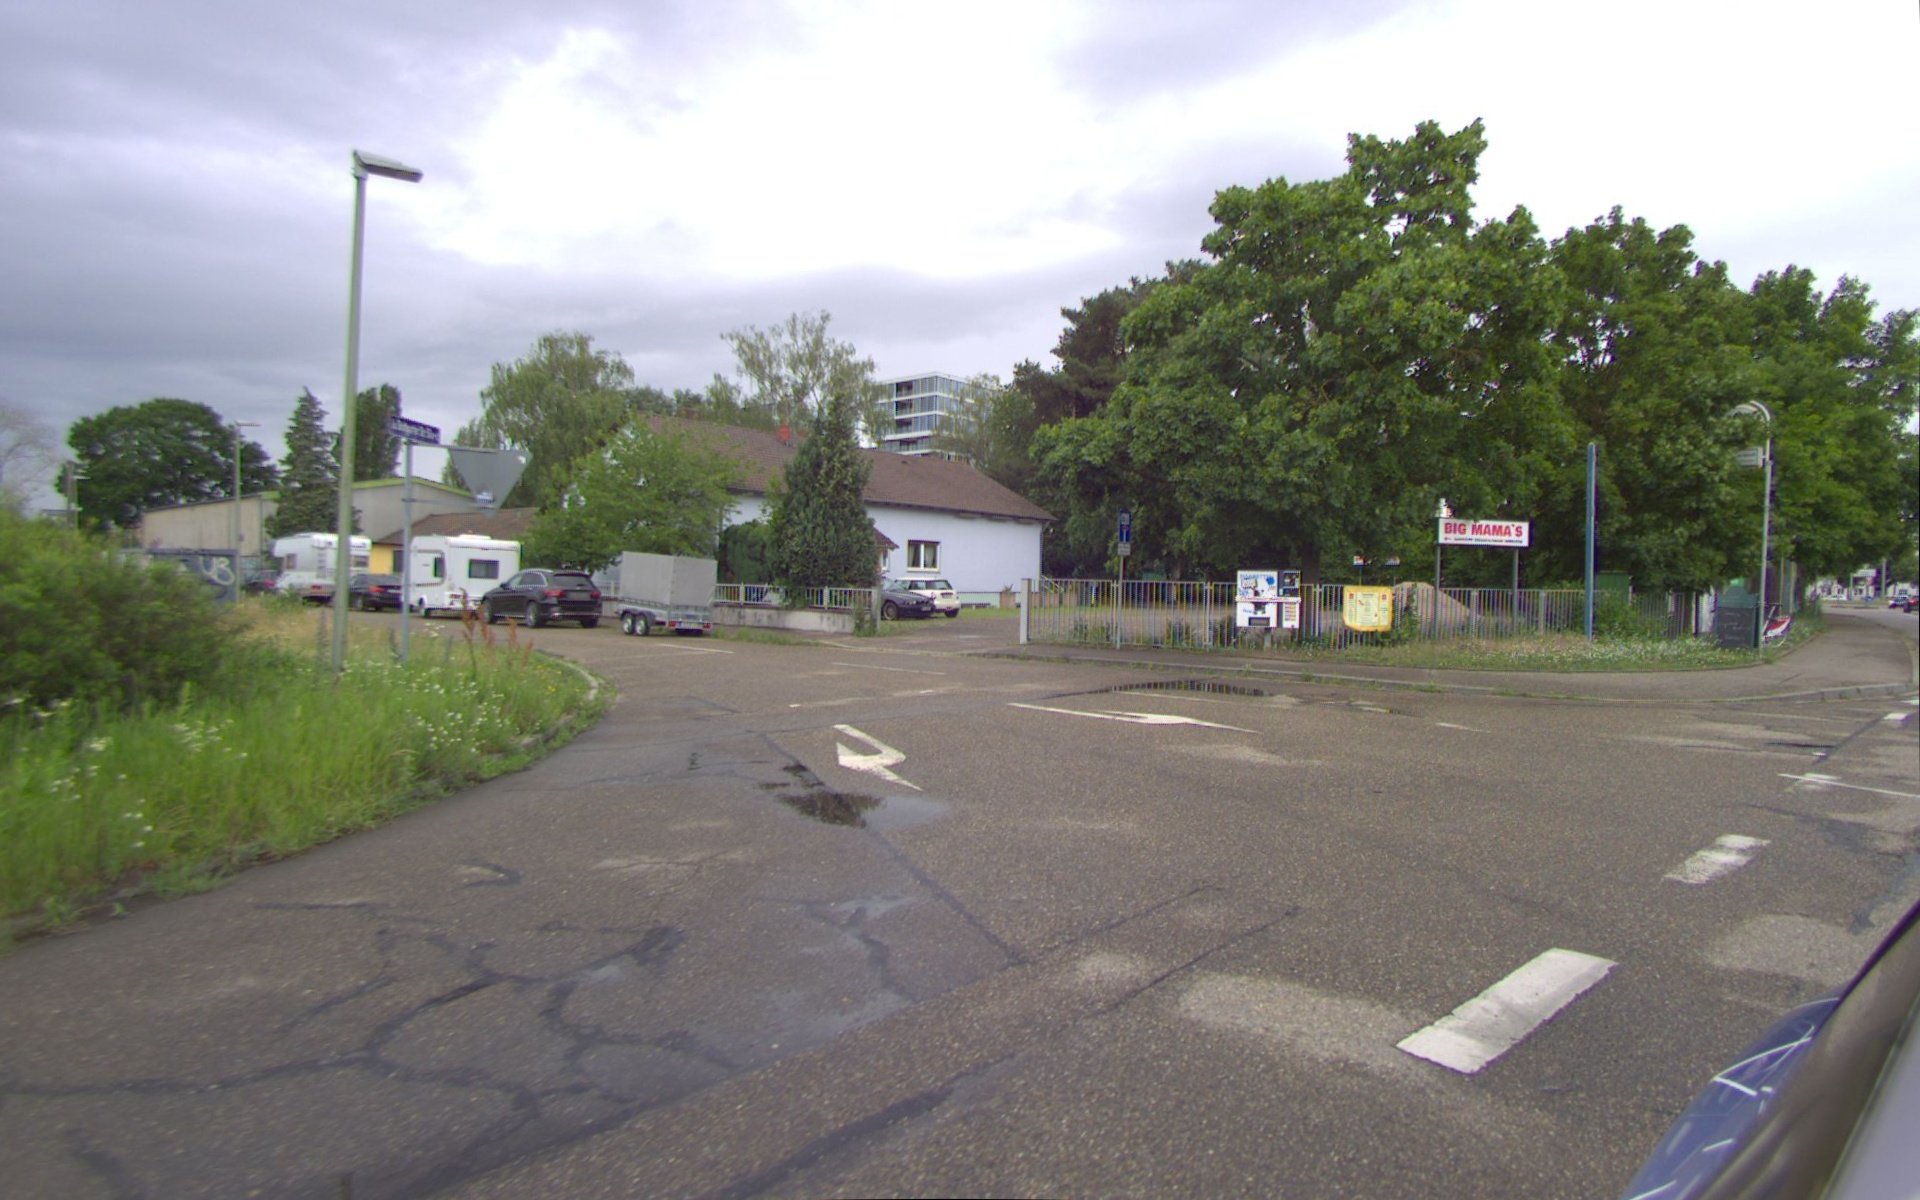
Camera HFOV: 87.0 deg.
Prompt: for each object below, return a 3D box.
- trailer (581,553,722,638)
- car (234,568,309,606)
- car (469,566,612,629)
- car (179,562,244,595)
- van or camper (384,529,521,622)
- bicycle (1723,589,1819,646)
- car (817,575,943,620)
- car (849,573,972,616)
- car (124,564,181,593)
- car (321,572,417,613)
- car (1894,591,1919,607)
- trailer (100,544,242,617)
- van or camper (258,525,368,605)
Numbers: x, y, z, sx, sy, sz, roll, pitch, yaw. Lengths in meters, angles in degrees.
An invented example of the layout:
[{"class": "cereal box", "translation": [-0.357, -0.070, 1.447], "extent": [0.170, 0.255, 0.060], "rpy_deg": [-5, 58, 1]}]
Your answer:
[{"class": "trailer", "translation": [-8.033, -0.169, 26.184], "extent": [3.983, 2.039, 1.619], "rpy_deg": [2, 0, 41]}, {"class": "car", "translation": [-32.313, -0.621, 47.470], "extent": [3.920, 1.594, 1.969], "rpy_deg": [2, -2, 42]}, {"class": "car", "translation": [-12.171, -0.102, 29.230], "extent": [4.574, 1.660, 1.970], "rpy_deg": [2, 1, 41]}, {"class": "car", "translation": [-40.646, -1.154, 54.957], "extent": [4.268, 1.594, 1.969], "rpy_deg": [2, -2, 42]}, {"class": "van or camper", "translation": [-16.981, -0.813, 33.758], "extent": [5.161, 2.868, 2.379], "rpy_deg": [2, 0, 43]}, {"class": "bicycle", "translation": [16.978, 0.354, 21.179], "extent": [1.912, 1.125, 0.799], "rpy_deg": [0, 1, -26]}, {"class": "car", "translation": [-2.706, -0.109, 33.898], "extent": [3.977, 1.428, 1.844], "rpy_deg": [1, 1, 37]}, {"class": "car", "translation": [-1.815, -0.223, 36.249], "extent": [4.284, 1.404, 1.809], "rpy_deg": [2, 1, 40]}, {"class": "car", "translation": [-50.603, -1.342, 63.390], "extent": [4.575, 1.594, 1.969], "rpy_deg": [2, -2, 42]}, {"class": "car", "translation": [-22.397, -0.303, 38.288], "extent": [4.272, 1.402, 1.885], "rpy_deg": [2, 1, 41]}, {"class": "car", "translation": [103.282, -0.096, 110.404], "extent": [1.749, 1.606, 3.845], "rpy_deg": [5, 3, 39]}, {"class": "trailer", "translation": [-18.377, -0.463, 23.519], "extent": [4.100, 1.552, 1.733], "rpy_deg": [2, 1, 39]}, {"class": "van or camper", "translation": [-27.631, -1.488, 43.126], "extent": [6.047, 3.151, 2.238], "rpy_deg": [2, 0, 40]}]
